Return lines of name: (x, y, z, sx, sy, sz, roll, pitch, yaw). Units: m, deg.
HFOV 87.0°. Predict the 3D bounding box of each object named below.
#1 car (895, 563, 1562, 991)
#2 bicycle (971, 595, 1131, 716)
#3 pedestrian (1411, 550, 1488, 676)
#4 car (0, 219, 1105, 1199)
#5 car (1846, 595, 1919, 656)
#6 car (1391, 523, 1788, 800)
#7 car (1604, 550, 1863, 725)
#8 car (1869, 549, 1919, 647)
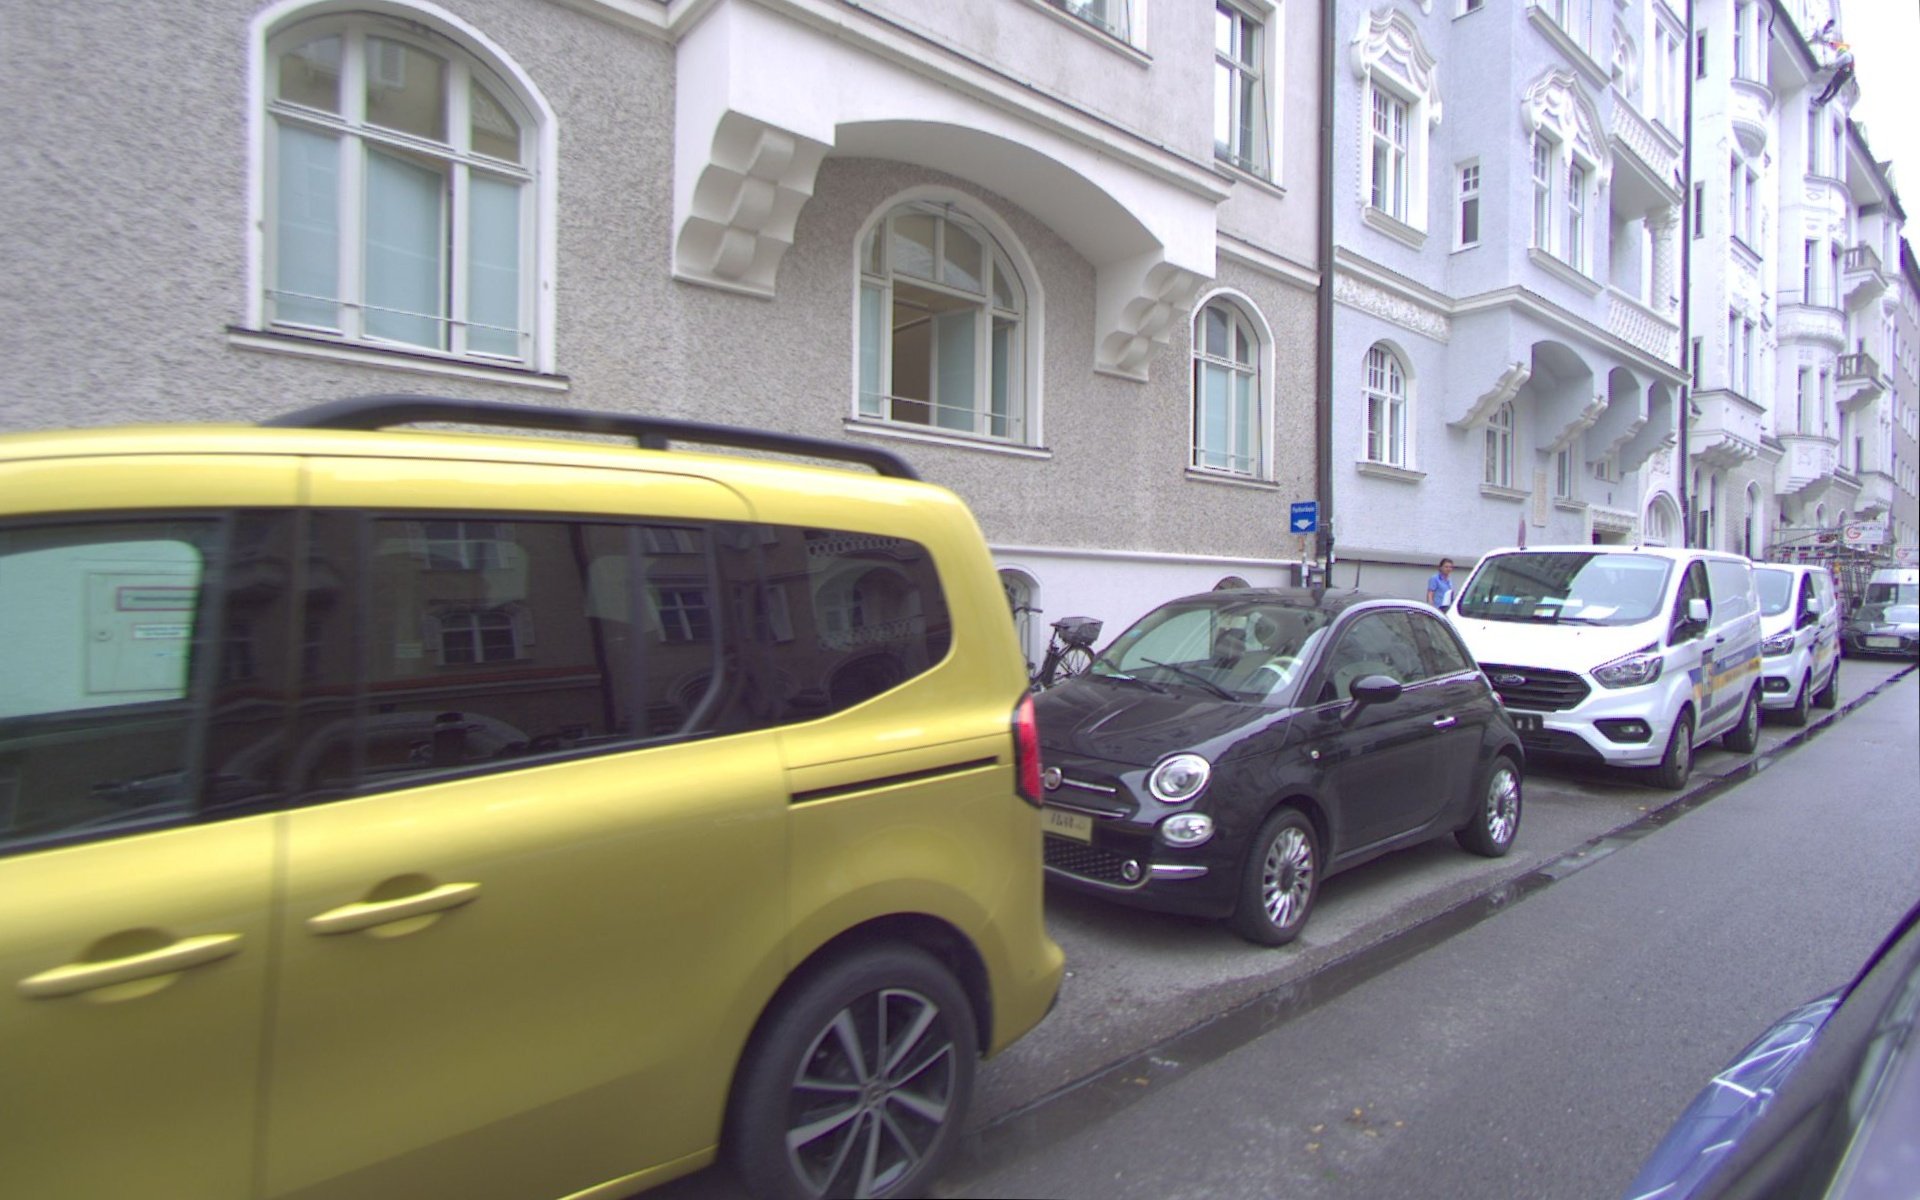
car: (1.661, 0.621, 5.497, 3.816, 1.533, 1.636, 0, 0, -41)
bicycle: (0.967, 0.533, 10.521, 1.692, 1.147, 0.667, 0, 1, -41)
pedestrian: (7.721, 0.190, 15.972, 0.732, 1.927, 0.854, 0, 0, -38)
car: (-1.982, 0.451, 2.046, 4.489, 1.942, 1.998, 0, 1, -39)
car: (24.354, 0.608, 26.083, 4.171, 1.425, 1.791, 0, 1, -42)
car: (6.069, 0.399, 9.469, 4.804, 1.942, 1.996, 0, 1, -43)
car: (10.518, 0.383, 13.608, 4.796, 1.942, 1.996, 0, 1, -43)
car: (28.815, -0.061, 30.059, 5.351, 2.721, 2.080, 0, 2, -42)
